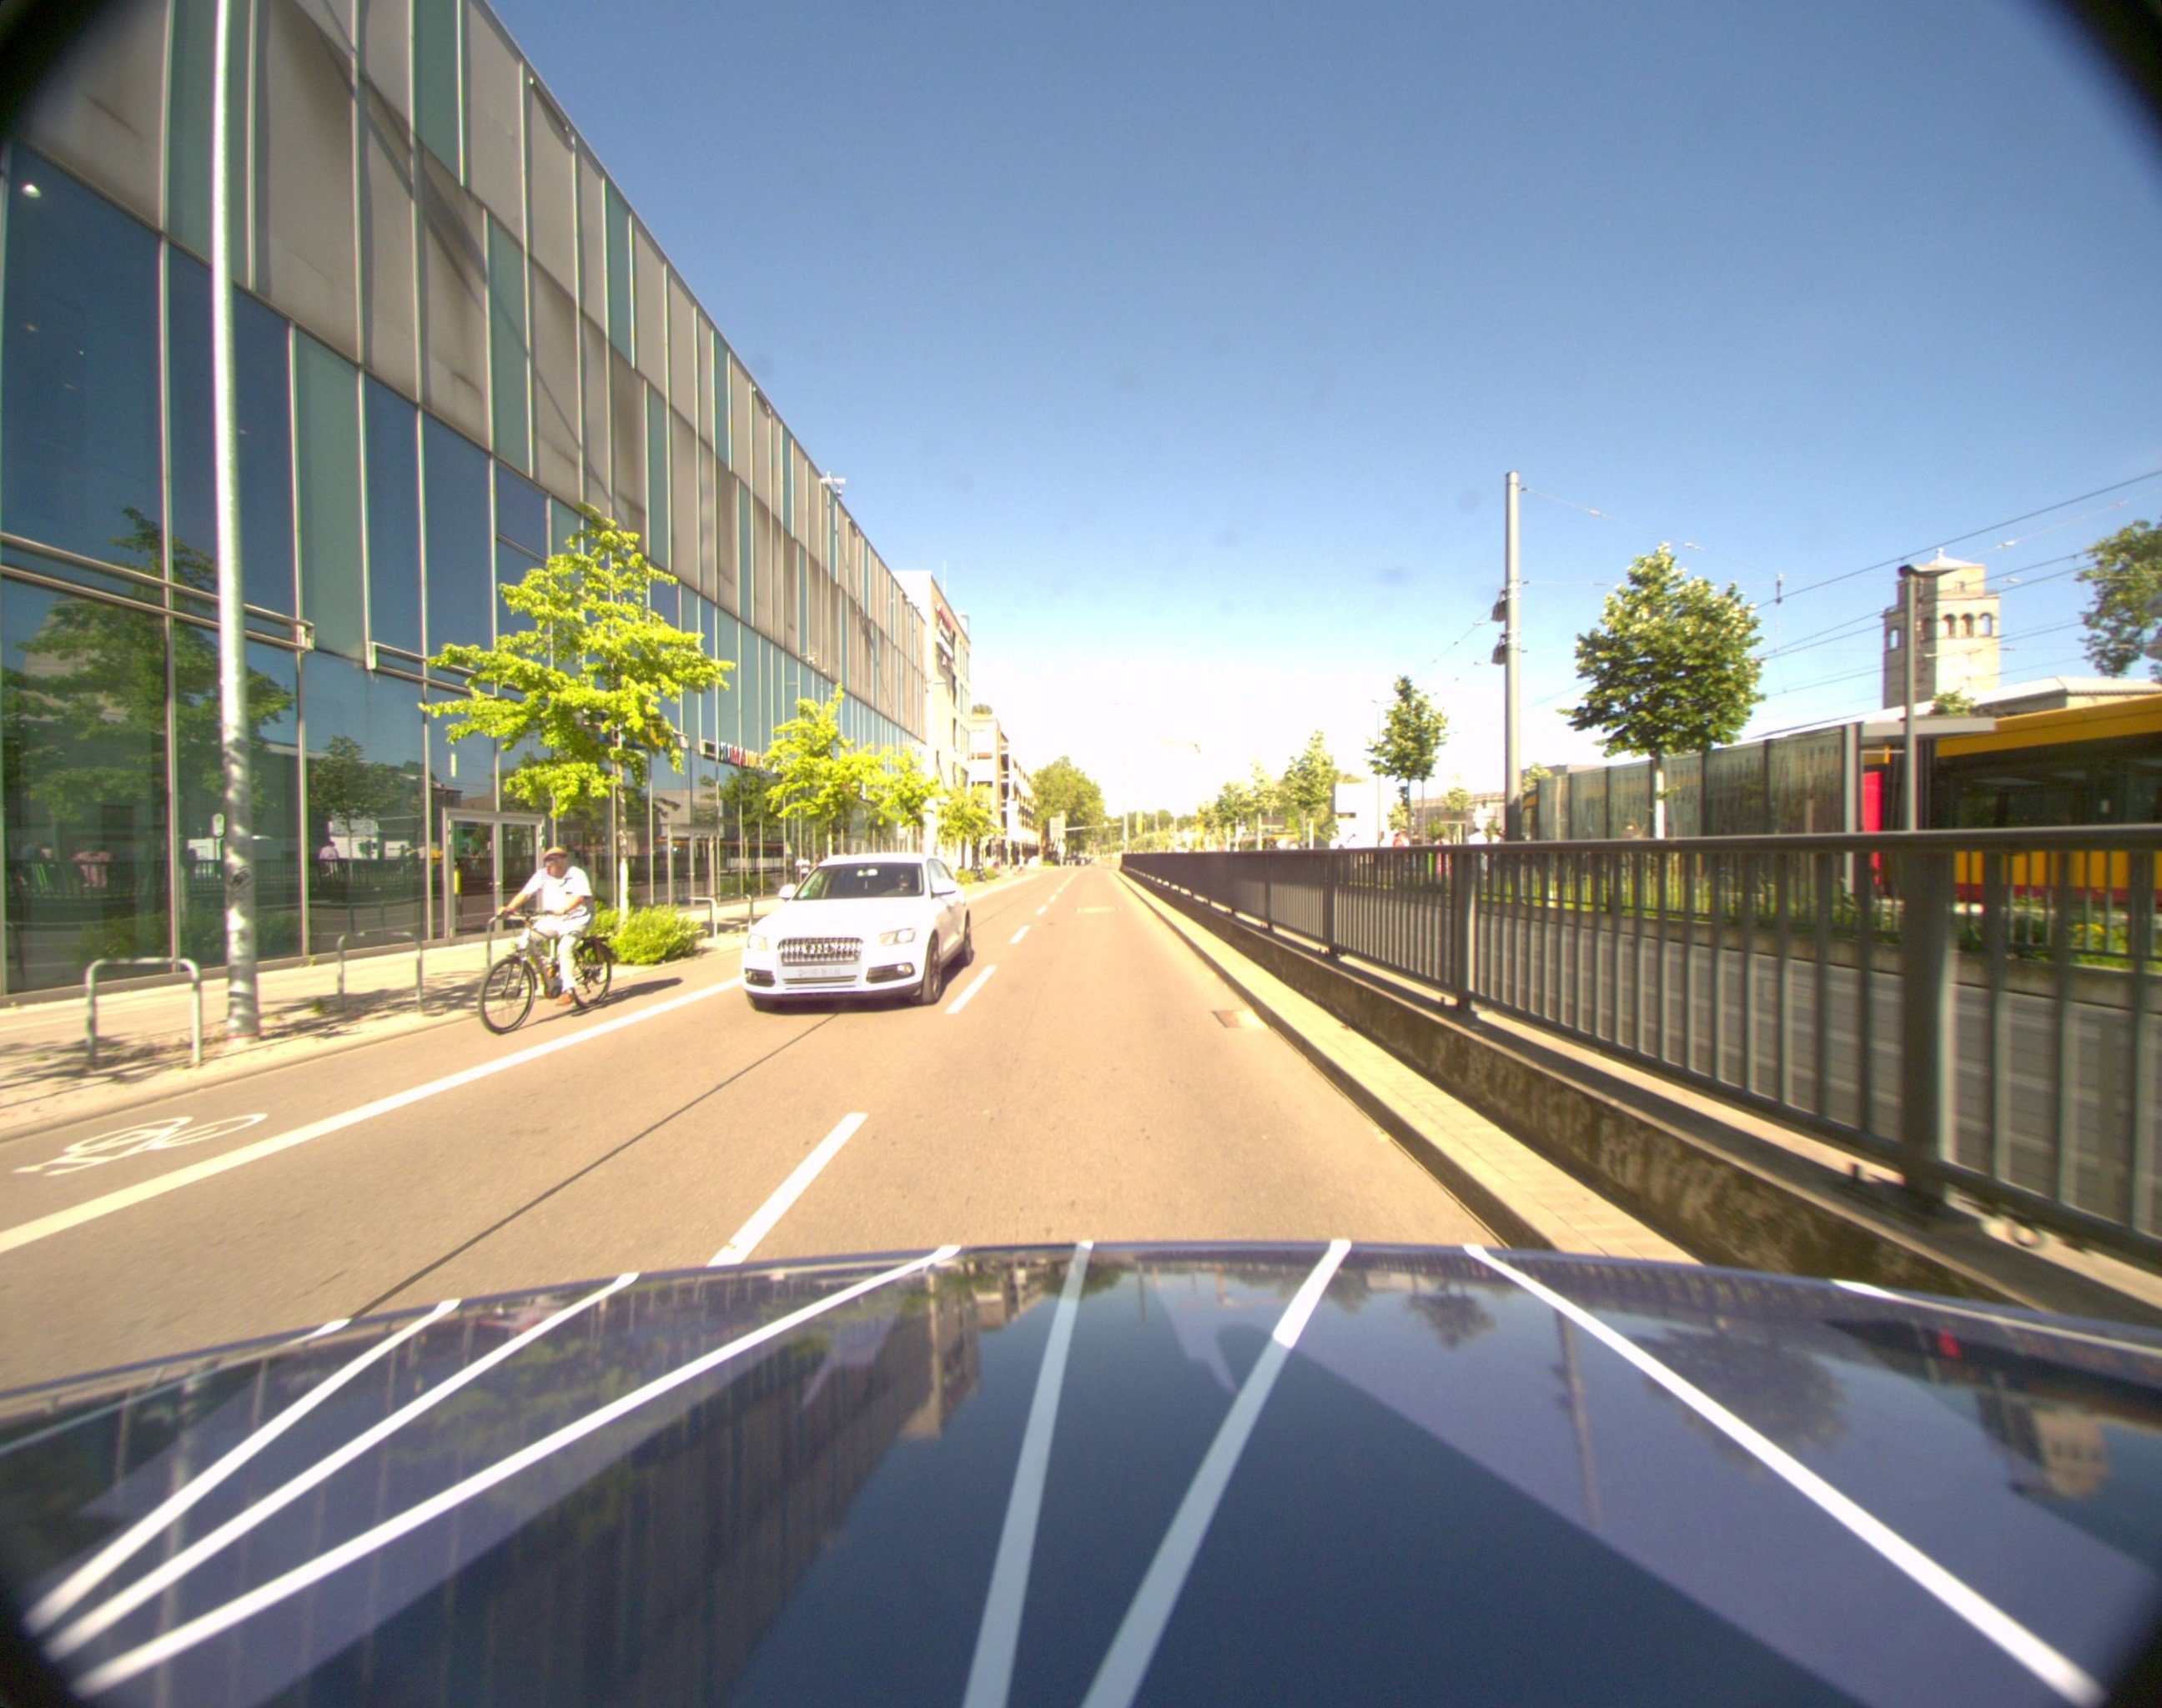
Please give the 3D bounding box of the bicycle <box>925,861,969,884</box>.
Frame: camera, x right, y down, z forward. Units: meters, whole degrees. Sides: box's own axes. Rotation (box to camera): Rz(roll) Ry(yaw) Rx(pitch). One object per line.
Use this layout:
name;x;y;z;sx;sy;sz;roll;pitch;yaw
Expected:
bicycle;-7.065;0.968;40.087;2.089;1.198;0.951;1;1;8

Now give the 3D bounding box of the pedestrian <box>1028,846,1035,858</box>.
pedestrian;-8.070;-0.284;123.639;0.949;2.002;1.079;-1;0;-6

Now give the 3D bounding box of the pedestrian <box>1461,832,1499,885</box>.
pedestrian;12.364;0.135;23.572;0.743;1.619;0.861;-1;1;2

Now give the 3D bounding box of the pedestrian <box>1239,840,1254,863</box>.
pedestrian;13.104;-0.196;60.227;0.876;1.764;1.189;-2;0;-2

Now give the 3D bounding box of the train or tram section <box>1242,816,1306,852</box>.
train or tram section;20.134;-2.015;80.523;2.855;3.302;15.965;-3;0;1

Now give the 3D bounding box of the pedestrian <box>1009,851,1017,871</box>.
pedestrian;-6.084;0.625;68.125;0.658;1.692;0.698;2;1;0

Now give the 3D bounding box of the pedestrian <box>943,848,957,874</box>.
pedestrian;-9.037;0.483;52.306;0.729;1.791;1.066;1;1;1

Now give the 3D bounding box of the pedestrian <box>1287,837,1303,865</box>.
pedestrian;14.001;-0.186;49.741;0.763;1.764;0.826;-2;0;-2

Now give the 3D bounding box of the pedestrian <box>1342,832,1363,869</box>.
pedestrian;13.459;-0.165;37.725;0.673;1.800;1.075;0;1;1

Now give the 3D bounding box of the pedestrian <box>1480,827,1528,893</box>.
pedestrian;10.653;0.156;19.173;0.743;1.619;0.861;-1;1;2

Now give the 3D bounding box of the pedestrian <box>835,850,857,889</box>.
pedestrian;-10.186;0.675;32.943;0.708;1.648;0.900;1;1;-3

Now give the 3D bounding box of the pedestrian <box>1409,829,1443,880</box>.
pedestrian;11.018;0.012;24.286;0.743;1.619;0.861;-1;1;2

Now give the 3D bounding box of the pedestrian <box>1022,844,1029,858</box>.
pedestrian;-8.233;-0.427;113.455;0.950;2.002;1.078;0;1;-10

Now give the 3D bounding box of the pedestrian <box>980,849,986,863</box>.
pedestrian;-11.453;0.277;89.051;0.662;1.603;0.526;1;1;-7

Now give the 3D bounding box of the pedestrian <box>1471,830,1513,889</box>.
pedestrian;11.521;0.143;21.334;0.743;1.619;0.861;-1;1;2

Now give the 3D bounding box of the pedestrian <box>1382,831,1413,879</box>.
pedestrian;10.962;0.019;26.310;0.743;1.619;0.861;-1;1;2

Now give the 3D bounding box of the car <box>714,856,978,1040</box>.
car;-2.459;0.870;9.208;1.824;1.604;4.411;-2;1;-1

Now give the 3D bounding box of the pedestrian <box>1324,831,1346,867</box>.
pedestrian;12.643;-0.255;37.880;0.771;1.800;1.031;0;1;1

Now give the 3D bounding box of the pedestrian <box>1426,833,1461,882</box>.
pedestrian;12.202;0.116;25.599;0.743;1.619;0.947;-1;1;2

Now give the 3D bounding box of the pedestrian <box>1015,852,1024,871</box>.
pedestrian;-5.377;0.674;66.444;0.725;1.598;0.750;0;0;2

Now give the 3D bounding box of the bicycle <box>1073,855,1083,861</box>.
bicycle;-0.534;0.759;133.971;1.848;0.954;0.711;1;0;-3

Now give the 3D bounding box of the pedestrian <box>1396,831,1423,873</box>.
pedestrian;13.260;-0.086;30.723;0.743;1.684;0.861;-1;1;2

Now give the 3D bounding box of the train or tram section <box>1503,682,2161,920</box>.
train or tram section;15.627;-0.808;18.126;2.877;3.260;15.185;-2;0;1

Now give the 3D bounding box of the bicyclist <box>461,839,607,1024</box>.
bicyclist;-5.426;0.725;7.601;0.727;1.727;0.997;0;1;-2

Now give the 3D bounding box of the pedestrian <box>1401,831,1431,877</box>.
pedestrian;12.165;0.000;27.624;0.743;1.619;0.861;-1;1;2

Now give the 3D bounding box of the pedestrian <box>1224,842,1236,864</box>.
pedestrian;12.393;-0.081;63.130;0.705;1.764;0.959;-2;0;-2

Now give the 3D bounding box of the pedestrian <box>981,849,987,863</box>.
pedestrian;-11.248;0.268;88.427;0.662;1.603;0.526;1;1;-7

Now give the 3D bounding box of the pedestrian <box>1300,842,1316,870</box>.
pedestrian;12.335;0.122;41.259;0.649;1.504;0.588;-2;0;-2

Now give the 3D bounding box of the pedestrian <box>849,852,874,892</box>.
pedestrian;-9.355;0.750;32.454;0.823;1.648;0.900;0;1;-3

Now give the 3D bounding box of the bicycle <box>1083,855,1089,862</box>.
bicycle;0.783;0.706;124.258;0.844;1.123;2.553;-1;0;2

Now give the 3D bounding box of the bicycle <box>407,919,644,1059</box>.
bicycle;-5.420;1.254;7.667;0.730;0.978;2.332;0;1;-2

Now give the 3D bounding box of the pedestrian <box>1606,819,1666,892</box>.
pedestrian;12.632;0.030;17.312;0.743;1.619;0.861;-1;1;2

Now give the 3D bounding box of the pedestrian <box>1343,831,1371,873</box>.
pedestrian;12.293;-0.092;33.864;0.889;1.840;1.007;-1;1;1

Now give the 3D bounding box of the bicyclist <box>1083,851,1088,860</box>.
bicyclist;0.787;0.249;124.257;0.830;1.380;0.904;-1;0;2

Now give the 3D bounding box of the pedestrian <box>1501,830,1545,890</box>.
pedestrian;12.410;0.163;21.353;0.743;1.619;0.861;-1;1;2

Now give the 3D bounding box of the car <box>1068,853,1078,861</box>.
car;-1.511;0.520;142.132;1.752;1.481;4.560;1;0;1

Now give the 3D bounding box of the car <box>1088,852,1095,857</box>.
car;3.029;0.202;228.933;1.998;1.597;3.896;-1;0;0

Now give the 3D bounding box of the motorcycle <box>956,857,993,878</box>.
motorcycle;-6.815;0.886;48.859;2.193;1.316;0.903;1;1;5

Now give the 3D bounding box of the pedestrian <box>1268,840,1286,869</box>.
pedestrian;12.364;0.020;47.986;0.793;1.764;0.979;-2;0;-2
